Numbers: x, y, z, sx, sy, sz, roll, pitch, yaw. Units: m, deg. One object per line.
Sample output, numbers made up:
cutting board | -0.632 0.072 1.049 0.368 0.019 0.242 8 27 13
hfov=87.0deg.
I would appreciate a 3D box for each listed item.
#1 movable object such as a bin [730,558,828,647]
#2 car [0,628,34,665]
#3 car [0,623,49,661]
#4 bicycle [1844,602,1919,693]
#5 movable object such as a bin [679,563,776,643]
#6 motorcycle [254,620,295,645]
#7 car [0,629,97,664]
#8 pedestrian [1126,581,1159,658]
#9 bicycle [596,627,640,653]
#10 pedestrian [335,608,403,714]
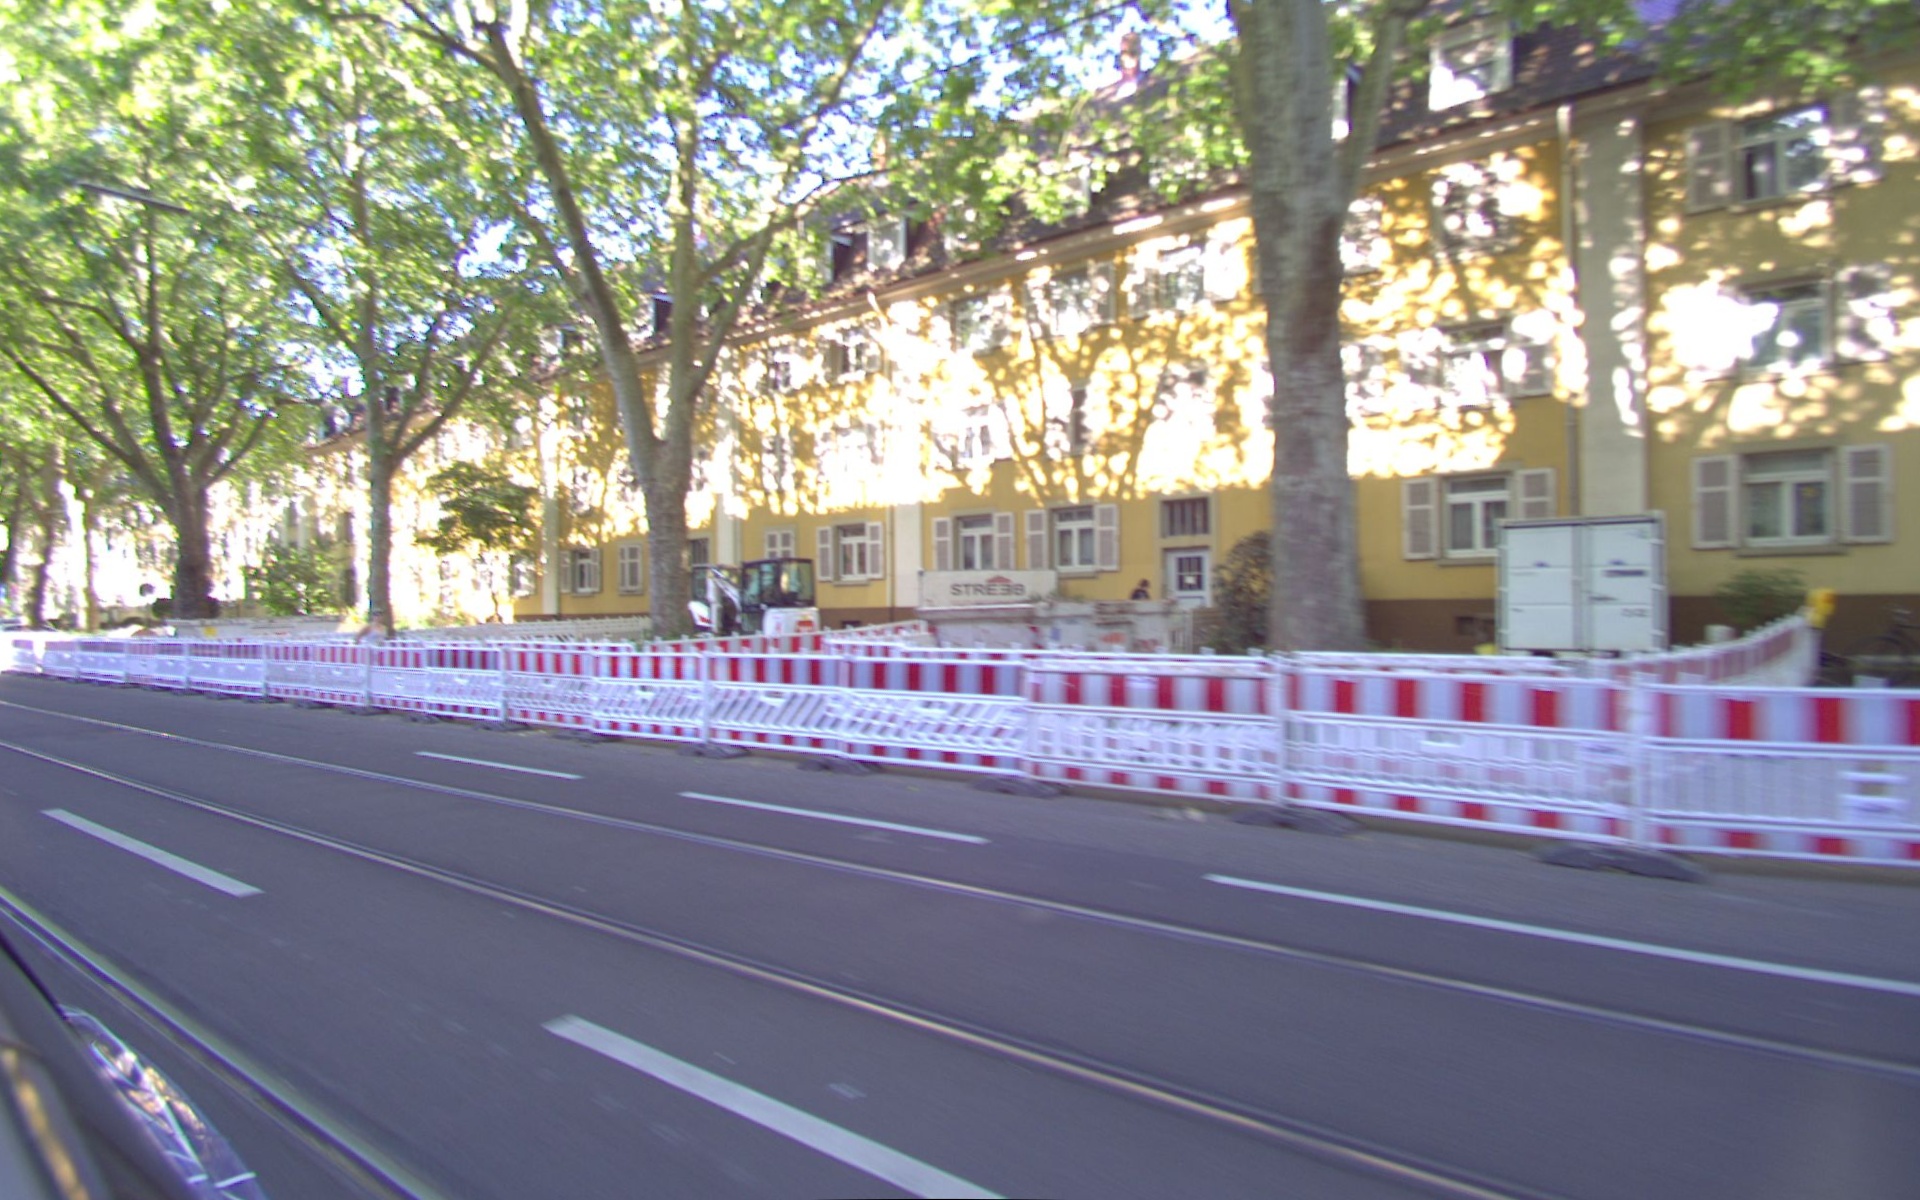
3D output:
movable object such as a bin | -3.522 0.051 19.678 1.557 1.658 1.087 -1 0 37
car | -46.097 2.192 47.171 1.933 1.701 4.187 -2 -2 44
car | -47.404 2.079 49.332 1.735 1.771 4.163 -2 -1 34
bicycle | 12.567 0.588 12.747 2.111 1.149 0.619 -2 -1 41
movable object such as a bin | -5.705 0.078 24.866 2.004 1.882 1.321 -1 0 37
motorcycle | -35.725 1.688 52.744 0.522 1.250 1.693 -2 -1 38
car | -41.892 2.098 45.985 1.859 1.509 3.811 -2 -2 37
pedestrian | 4.017 0.427 22.236 0.665 1.669 0.670 -1 -1 14
bicycle | -11.425 1.339 33.822 1.639 0.825 0.502 -2 -1 34
pedestrian | -9.852 0.994 16.873 0.777 1.682 0.710 -1 0 37
